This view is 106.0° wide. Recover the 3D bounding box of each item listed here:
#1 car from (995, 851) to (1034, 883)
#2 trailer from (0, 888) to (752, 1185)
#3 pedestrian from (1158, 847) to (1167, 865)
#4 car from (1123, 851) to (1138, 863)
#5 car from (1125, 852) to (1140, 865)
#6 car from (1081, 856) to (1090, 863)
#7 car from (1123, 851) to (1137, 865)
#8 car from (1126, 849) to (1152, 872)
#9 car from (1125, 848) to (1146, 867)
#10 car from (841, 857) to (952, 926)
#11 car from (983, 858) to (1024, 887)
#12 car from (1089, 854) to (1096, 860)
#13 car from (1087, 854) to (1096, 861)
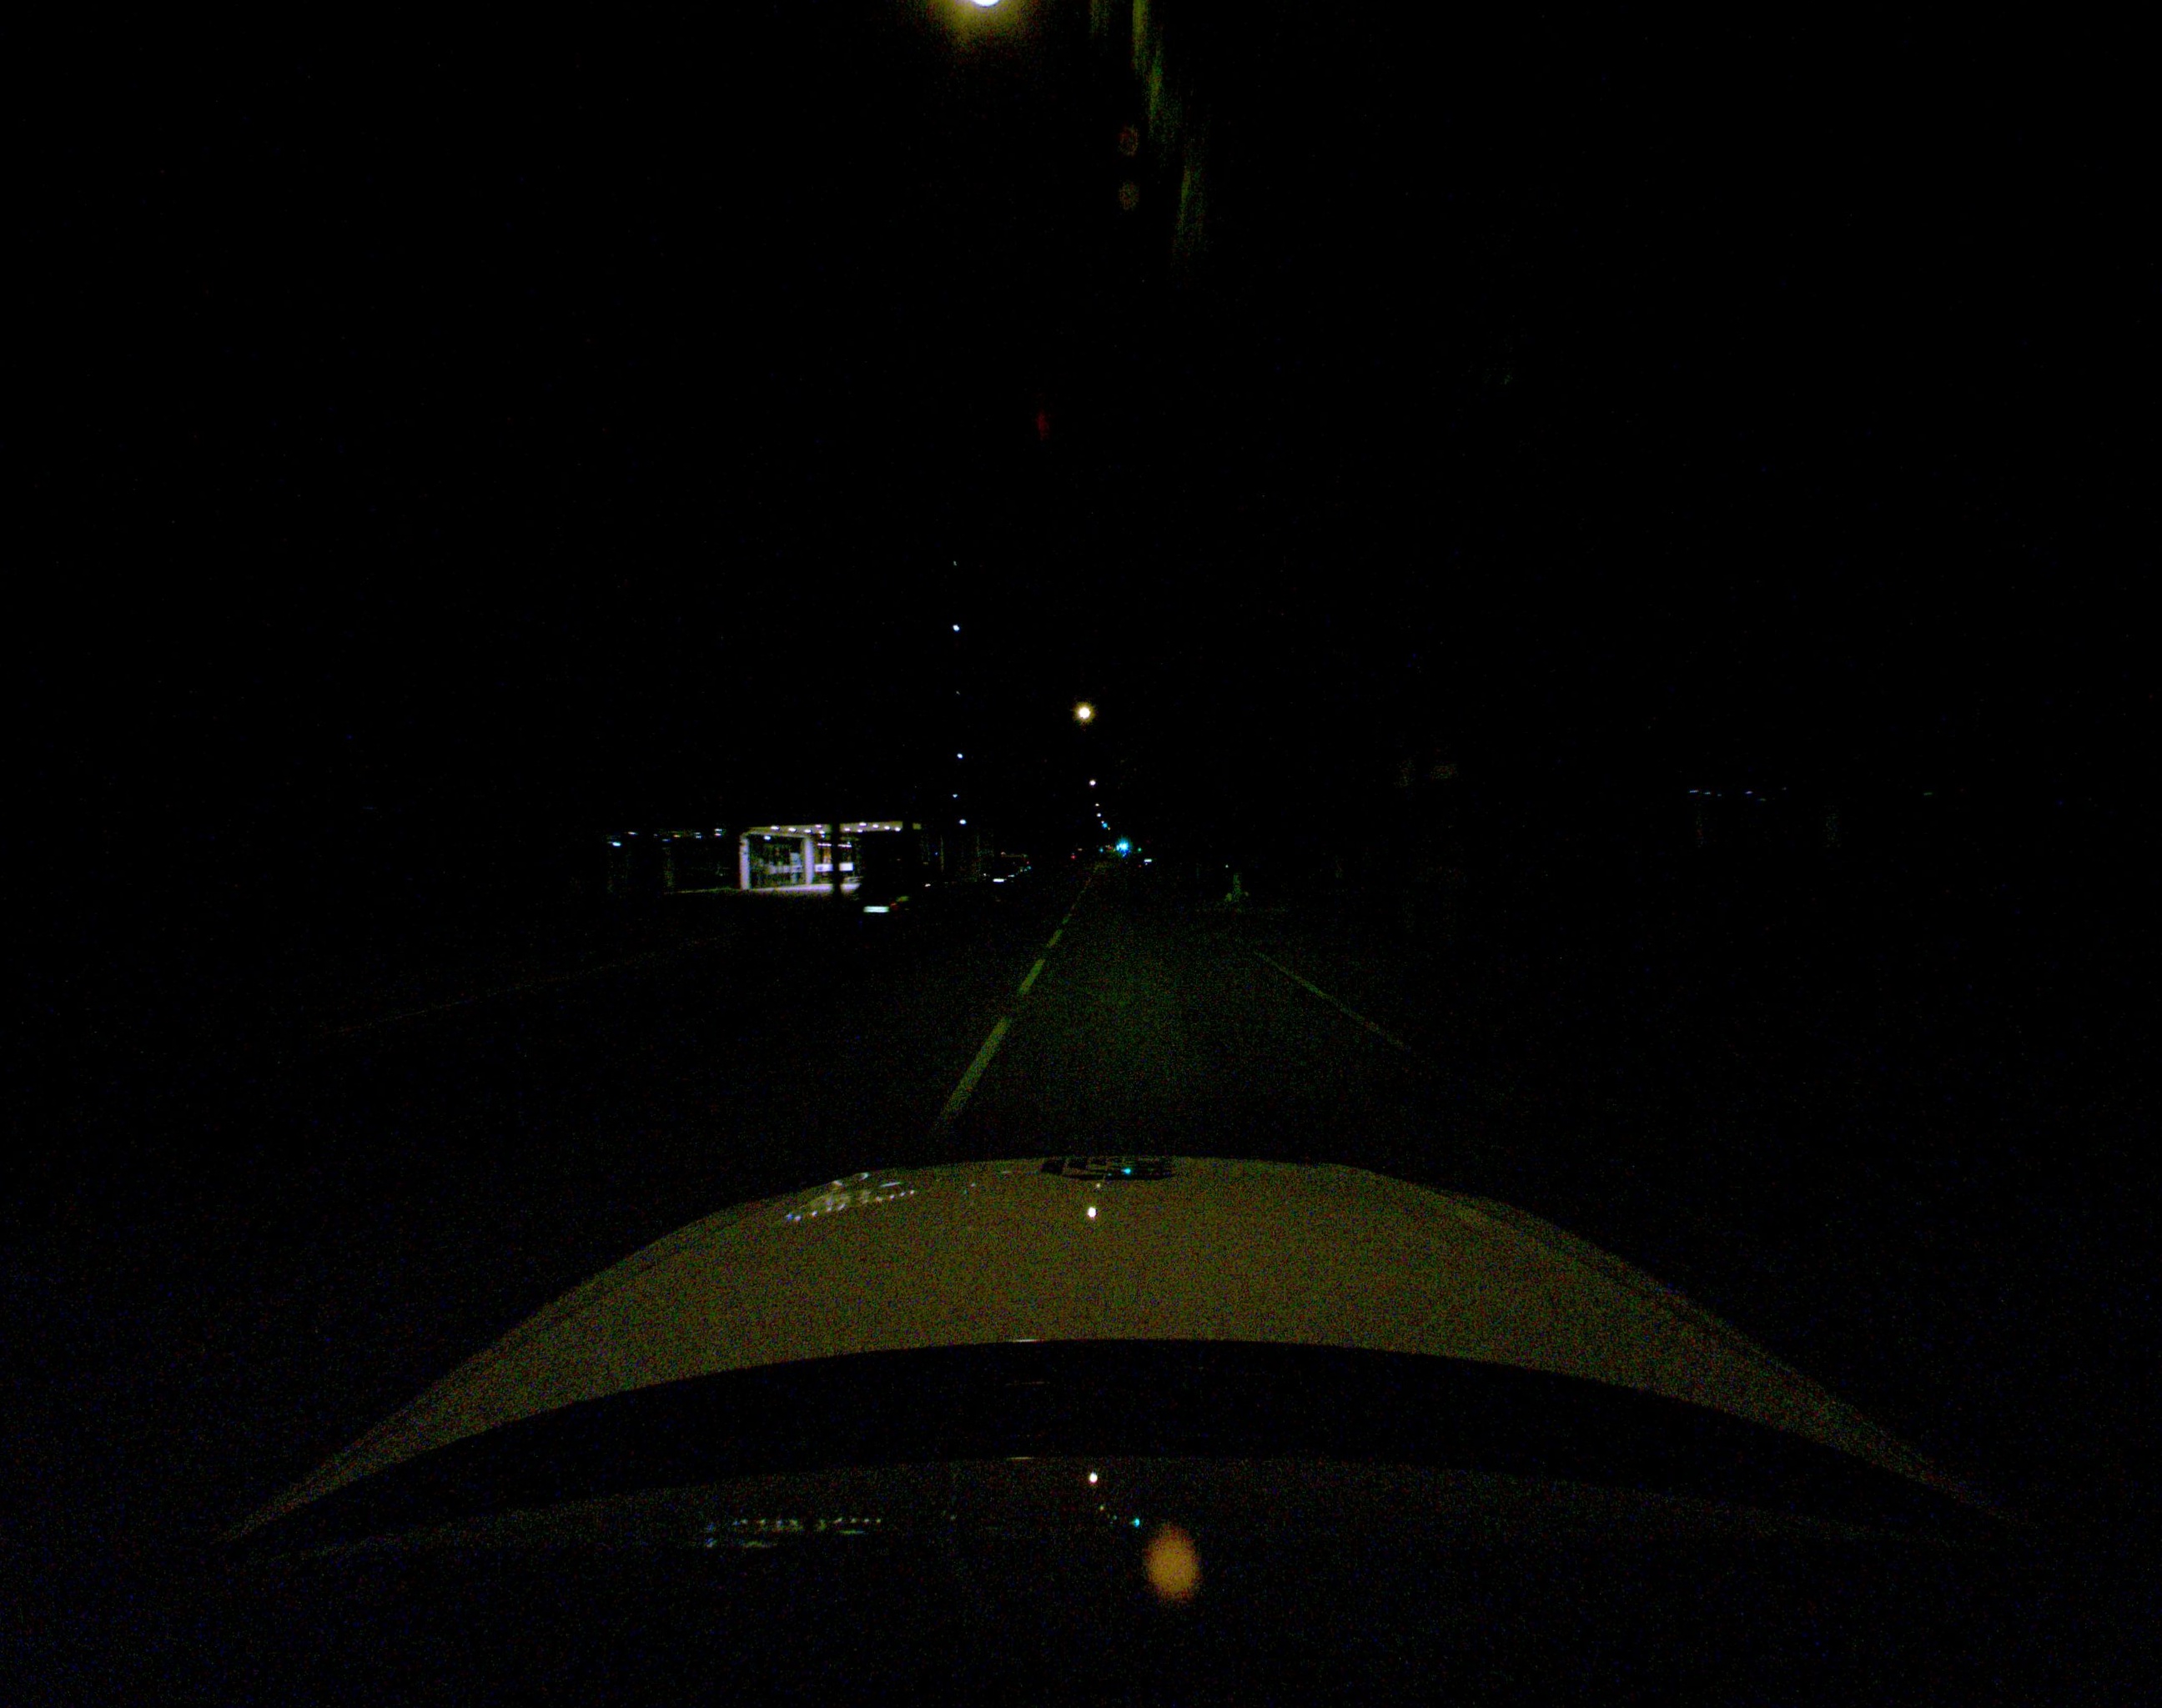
[{"bbox_3d":[-4.039,0.761,49.984,1.815,1.811,4.213,1,0,3],"label":"car"},{"bbox_3d":[-5.142,1.079,7.063,2.102,1.335,5.439,1,0,3],"label":"trailer"},{"bbox_3d":[8.006,0.212,79.883,0.703,1.721,0.822,-3,0,2],"label":"pedestrian"},{"bbox_3d":[6.637,0.404,108.863,1.846,1.590,4.301,-2,0,1],"label":"car"},{"bbox_3d":[5.841,0.524,92.644,1.514,1.396,3.987,-3,0,3],"label":"car"},{"bbox_3d":[0.970,1.176,172.443,1.734,1.416,3.754,-1,0,2],"label":"car"},{"bbox_3d":[6.081,0.494,101.381,1.585,1.534,4.139,-4,0,1],"label":"car"},{"bbox_3d":[4.521,0.510,64.258,1.846,1.654,4.211,-2,0,2],"label":"car"},{"bbox_3d":[5.670,0.345,84.871,1.766,1.806,4.276,-4,0,-1],"label":"car"},{"bbox_3d":[-4.806,0.910,21.813,1.815,1.599,4.076,1,0,3],"label":"car"},{"bbox_3d":[-4.150,0.954,44.044,1.693,1.433,3.831,1,0,2],"label":"car"},{"bbox_3d":[3.155,0.835,215.441,1.734,1.416,3.754,-1,0,2],"label":"car"},{"bbox_3d":[2.429,0.888,186.466,1.734,1.415,3.754,-2,1,2],"label":"car"}]
